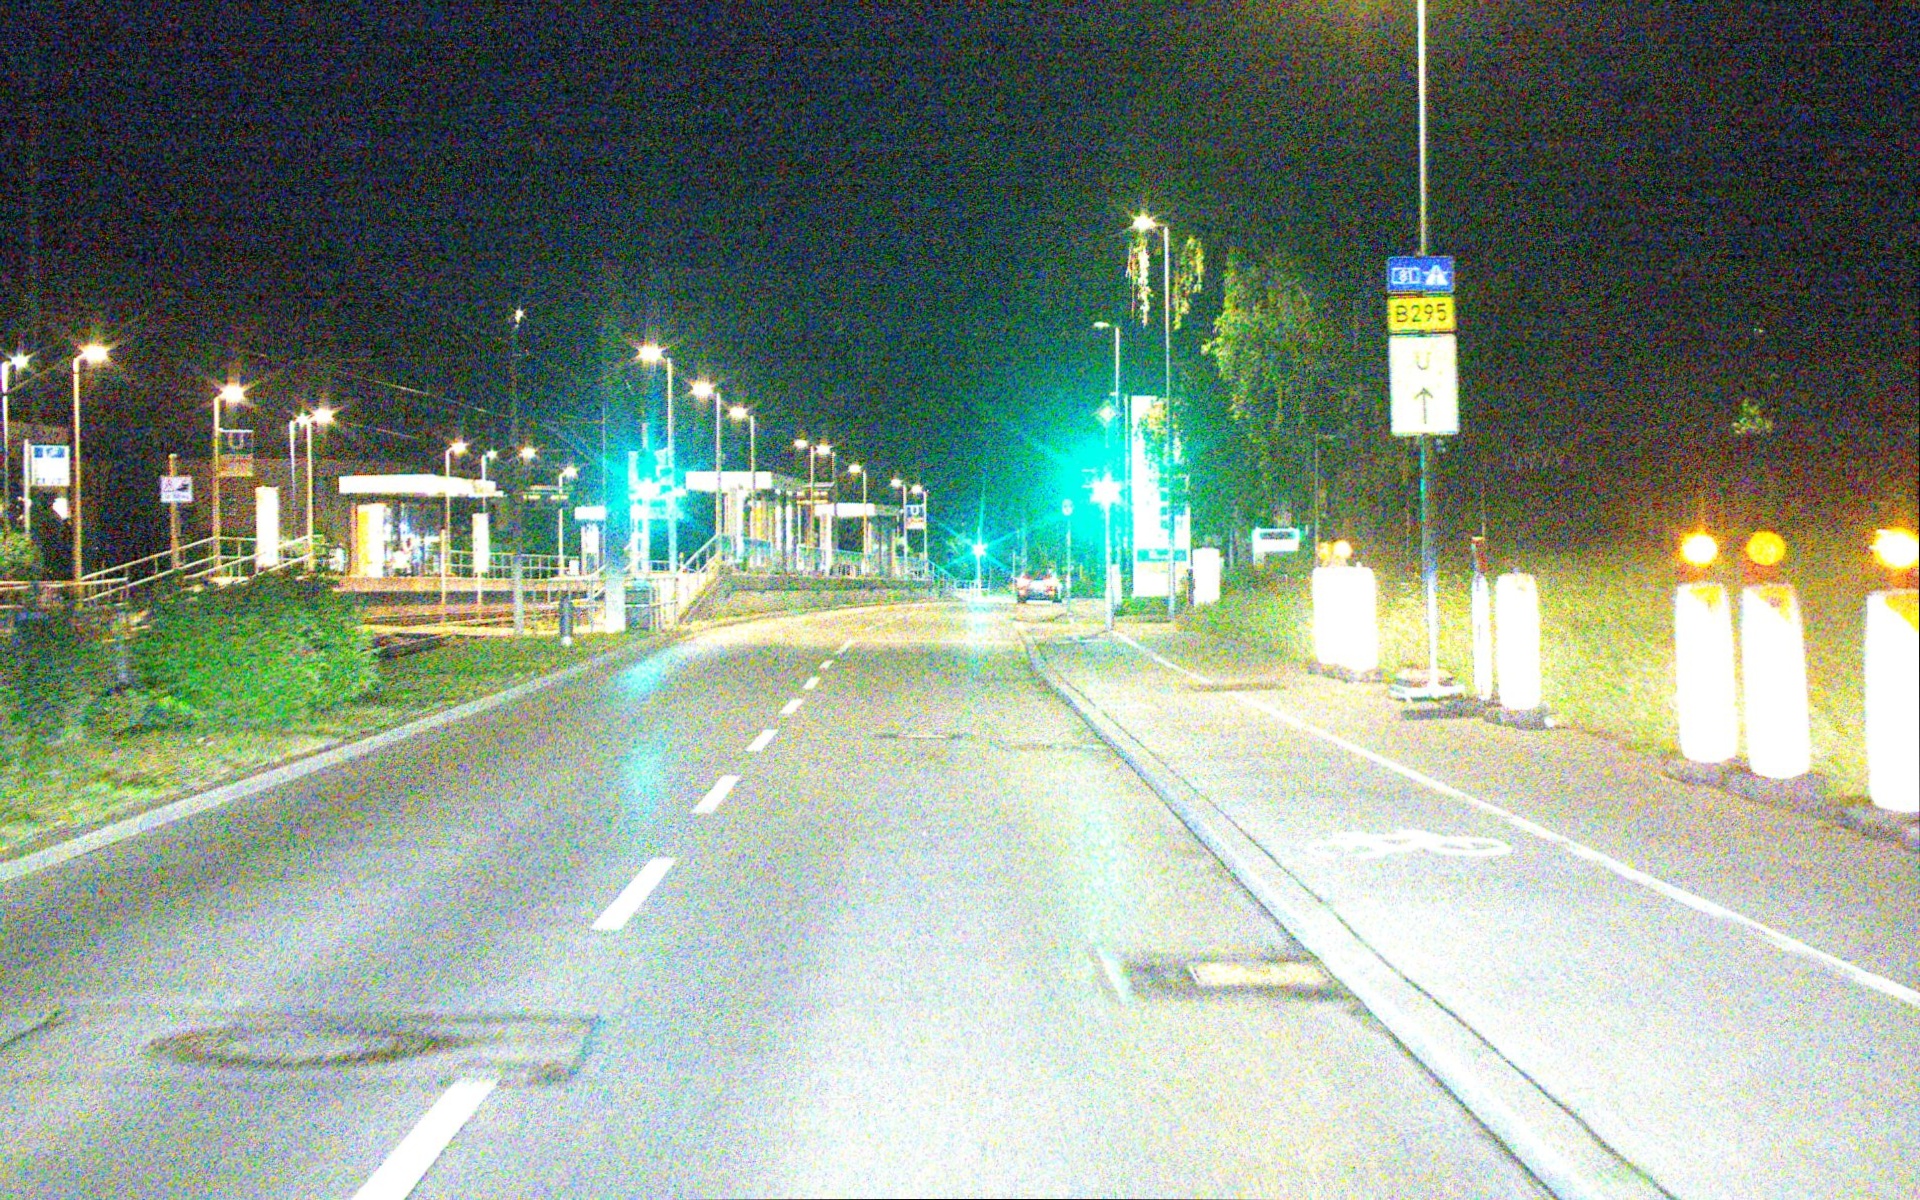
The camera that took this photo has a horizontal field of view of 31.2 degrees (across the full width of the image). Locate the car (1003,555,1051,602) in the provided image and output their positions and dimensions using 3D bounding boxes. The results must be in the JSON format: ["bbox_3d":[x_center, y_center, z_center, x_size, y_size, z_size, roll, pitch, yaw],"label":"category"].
[{"bbox_3d":[2.976,-0.967,153.897,2.087,2.007,4.000,-1,1,1],"label":"car"}]
